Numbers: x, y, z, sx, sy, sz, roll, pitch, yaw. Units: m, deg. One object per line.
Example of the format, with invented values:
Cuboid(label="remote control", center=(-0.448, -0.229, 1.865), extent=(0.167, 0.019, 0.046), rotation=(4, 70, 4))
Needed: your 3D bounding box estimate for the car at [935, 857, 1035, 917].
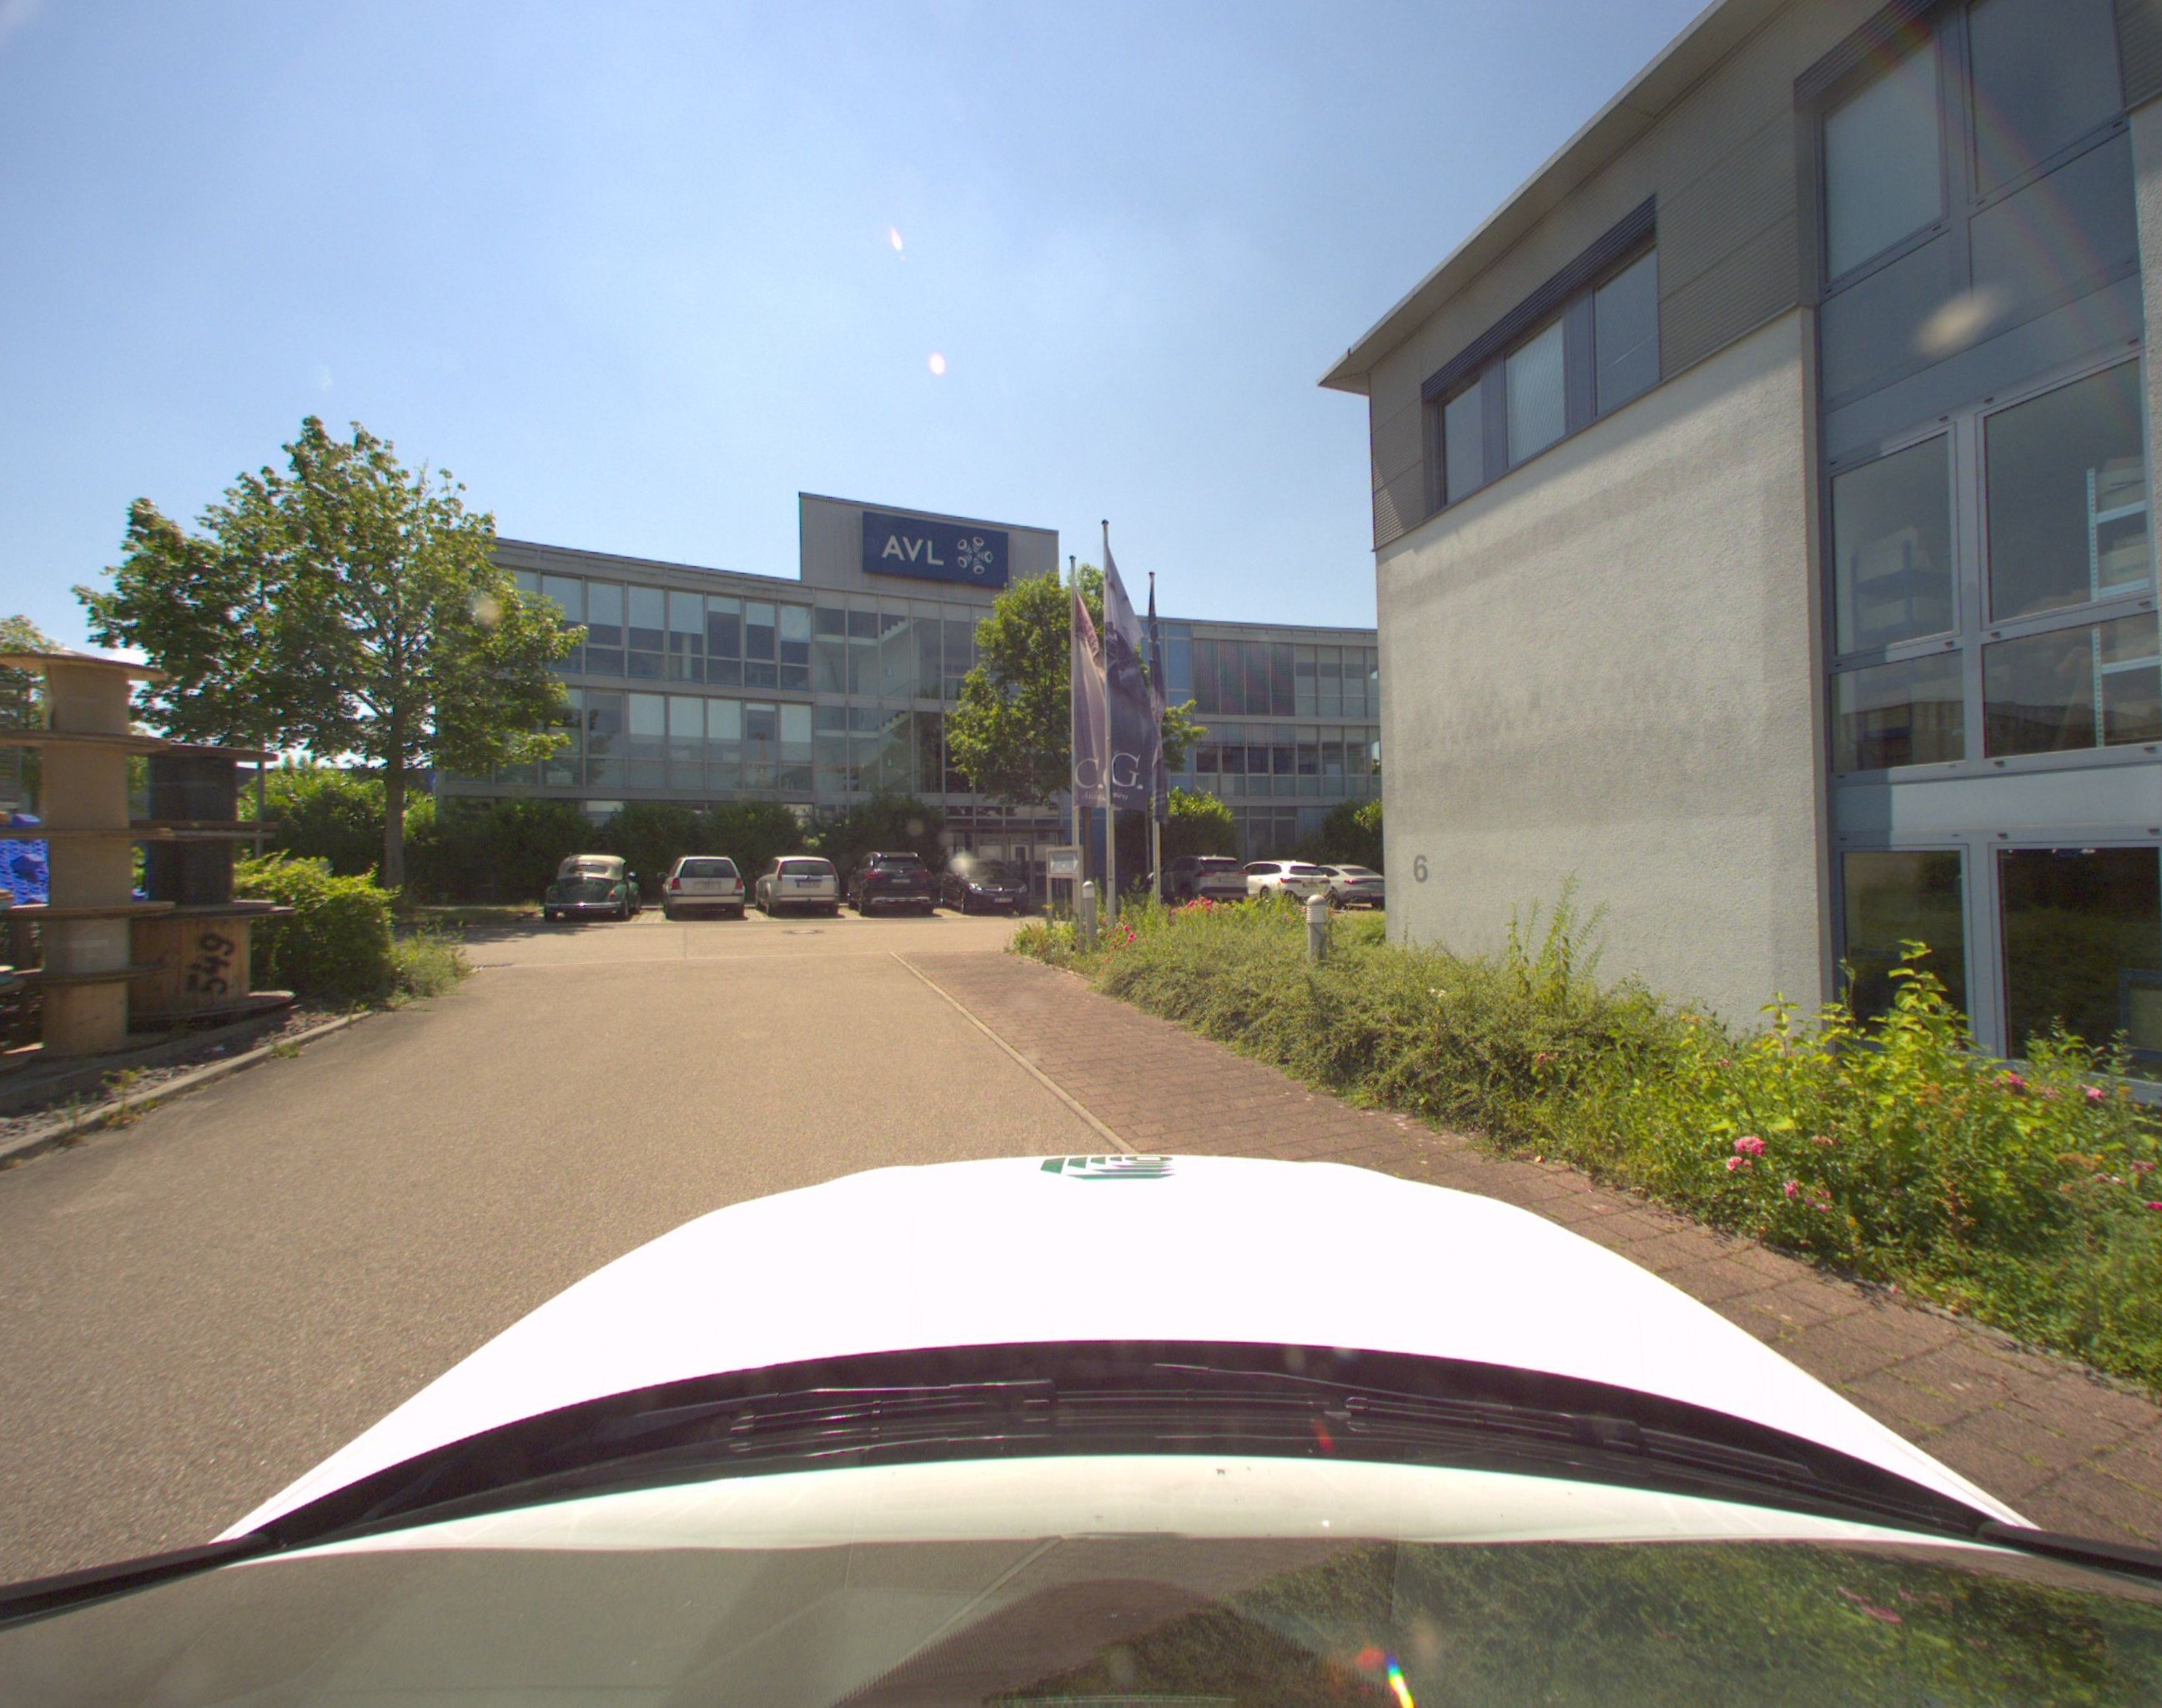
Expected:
Cuboid(label="car", center=(-2.834, 0.849, 23.188), extent=(1.777, 1.482, 4.227), rotation=(0, 0, -22))

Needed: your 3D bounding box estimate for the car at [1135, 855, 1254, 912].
Cuboid(label="car", center=(3.453, 0.849, 25.683), extent=(1.827, 1.619, 4.307), rotation=(0, 0, -22))

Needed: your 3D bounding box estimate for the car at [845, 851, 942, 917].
Cuboid(label="car", center=(-5.208, 0.754, 22.246), extent=(1.935, 1.611, 3.957), rotation=(1, 0, -22))

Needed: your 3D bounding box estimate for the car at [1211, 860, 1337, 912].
Cuboid(label="car", center=(6.085, 0.962, 26.182), extent=(1.743, 1.492, 4.307), rotation=(1, 0, -22))

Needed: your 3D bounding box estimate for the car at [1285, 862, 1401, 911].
Cuboid(label="car", center=(8.597, 1.029, 27.185), extent=(1.737, 1.429, 4.321), rotation=(1, 0, -13))

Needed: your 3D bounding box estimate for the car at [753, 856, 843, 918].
Cuboid(label="car", center=(-7.523, 0.813, 21.493), extent=(1.774, 1.449, 3.622), rotation=(1, 0, -27))

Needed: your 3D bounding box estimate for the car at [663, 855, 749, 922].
Cuboid(label="car", center=(-9.295, 0.787, 20.107), extent=(1.741, 1.449, 3.622), rotation=(1, 0, -27))

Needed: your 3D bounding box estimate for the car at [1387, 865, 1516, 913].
Cuboid(label="car", center=(12.787, 1.164, 28.471), extent=(1.737, 1.447, 4.528), rotation=(1, 0, -13))

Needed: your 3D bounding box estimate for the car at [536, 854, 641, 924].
Cuboid(label="car", center=(-11.356, 0.744, 18.983), extent=(1.548, 1.449, 3.626), rotation=(1, 0, -23))
